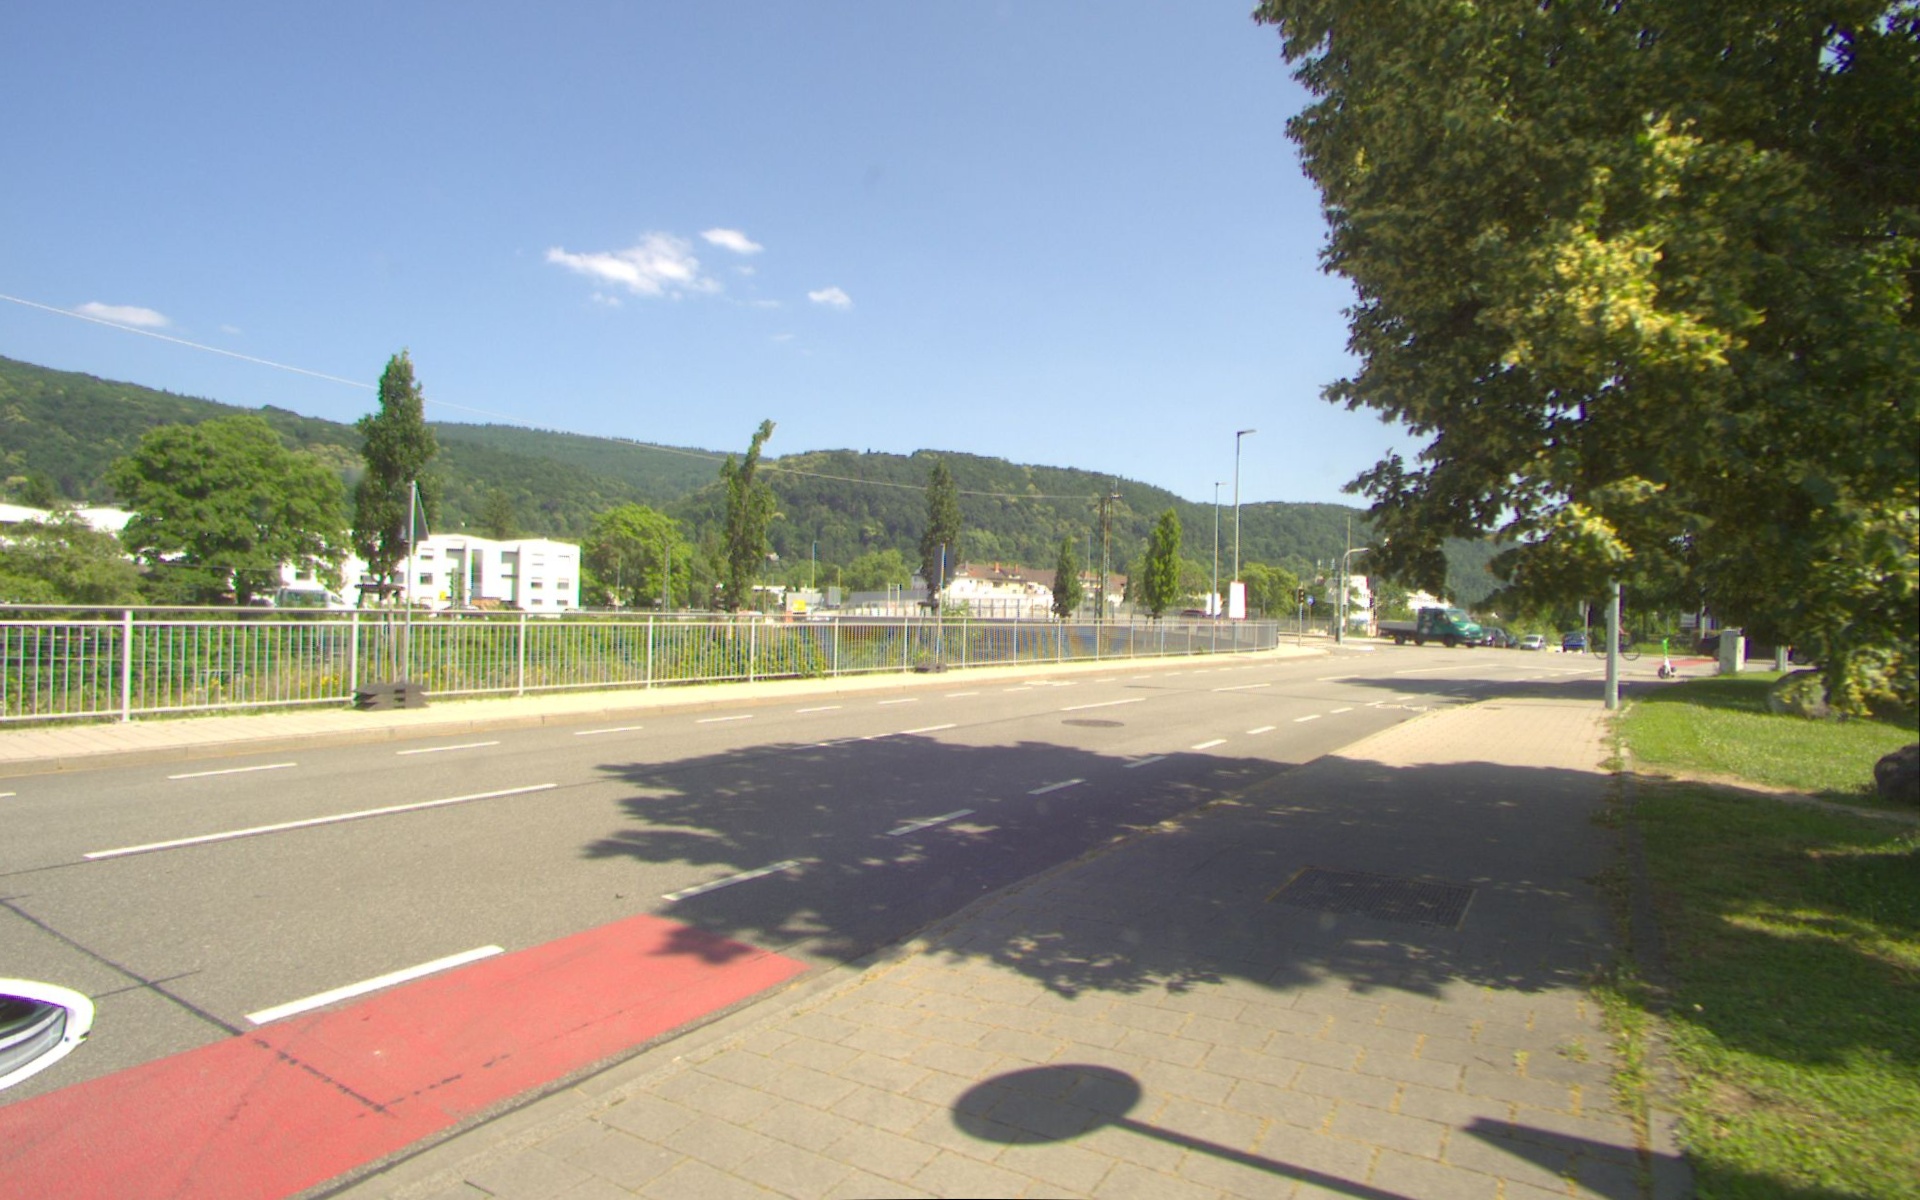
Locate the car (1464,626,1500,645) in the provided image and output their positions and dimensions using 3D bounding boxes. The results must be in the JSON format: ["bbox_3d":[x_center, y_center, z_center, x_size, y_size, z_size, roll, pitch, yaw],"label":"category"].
[{"bbox_3d":[37.950,2.570,72.753,1.591,1.271,3.656,1,0,39],"label":"car"}]

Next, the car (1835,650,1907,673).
[{"bbox_3d":[41.626,2.807,45.781,0.567,0.914,2.370,-2,1,-30],"label":"car"}]

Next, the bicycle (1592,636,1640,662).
[{"bbox_3d":[28.609,2.124,43.690,0.574,1.057,1.717,-2,2,-29],"label":"bicycle"}]

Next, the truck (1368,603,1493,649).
[{"bbox_3d":[27.193,1.466,58.167,2.352,2.406,6.353,2,-1,-30],"label":"truck"}]

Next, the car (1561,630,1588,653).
[{"bbox_3d":[46.233,3.105,75.373,1.587,1.556,3.665,1,0,31],"label":"car"}]

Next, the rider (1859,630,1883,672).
[{"bbox_3d":[41.628,2.327,45.771,0.540,1.838,0.682,-2,2,-30],"label":"rider"}]

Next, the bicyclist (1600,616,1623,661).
[{"bbox_3d":[28.523,1.692,43.835,0.544,1.922,0.653,-2,2,-29],"label":"bicyclist"}]

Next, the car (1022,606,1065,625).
[{"bbox_3d":[7.726,1.420,92.973,1.803,1.674,4.748,-2,1,-26],"label":"car"}]

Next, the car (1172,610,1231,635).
[{"bbox_3d":[18.106,1.683,75.311,1.805,1.701,4.346,-2,1,-31],"label":"car"}]

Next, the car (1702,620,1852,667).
[{"bbox_3d":[34.842,1.821,42.828,1.858,1.776,4.591,1,0,-29],"label":"car"}]

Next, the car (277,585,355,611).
[{"bbox_3d":[-56.907,-0.170,88.569,2.114,2.128,5.470,-5,-3,43],"label":"car"}]

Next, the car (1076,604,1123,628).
[{"bbox_3d":[11.917,1.343,85.731,1.804,1.874,4.350,-2,1,-27],"label":"car"}]
